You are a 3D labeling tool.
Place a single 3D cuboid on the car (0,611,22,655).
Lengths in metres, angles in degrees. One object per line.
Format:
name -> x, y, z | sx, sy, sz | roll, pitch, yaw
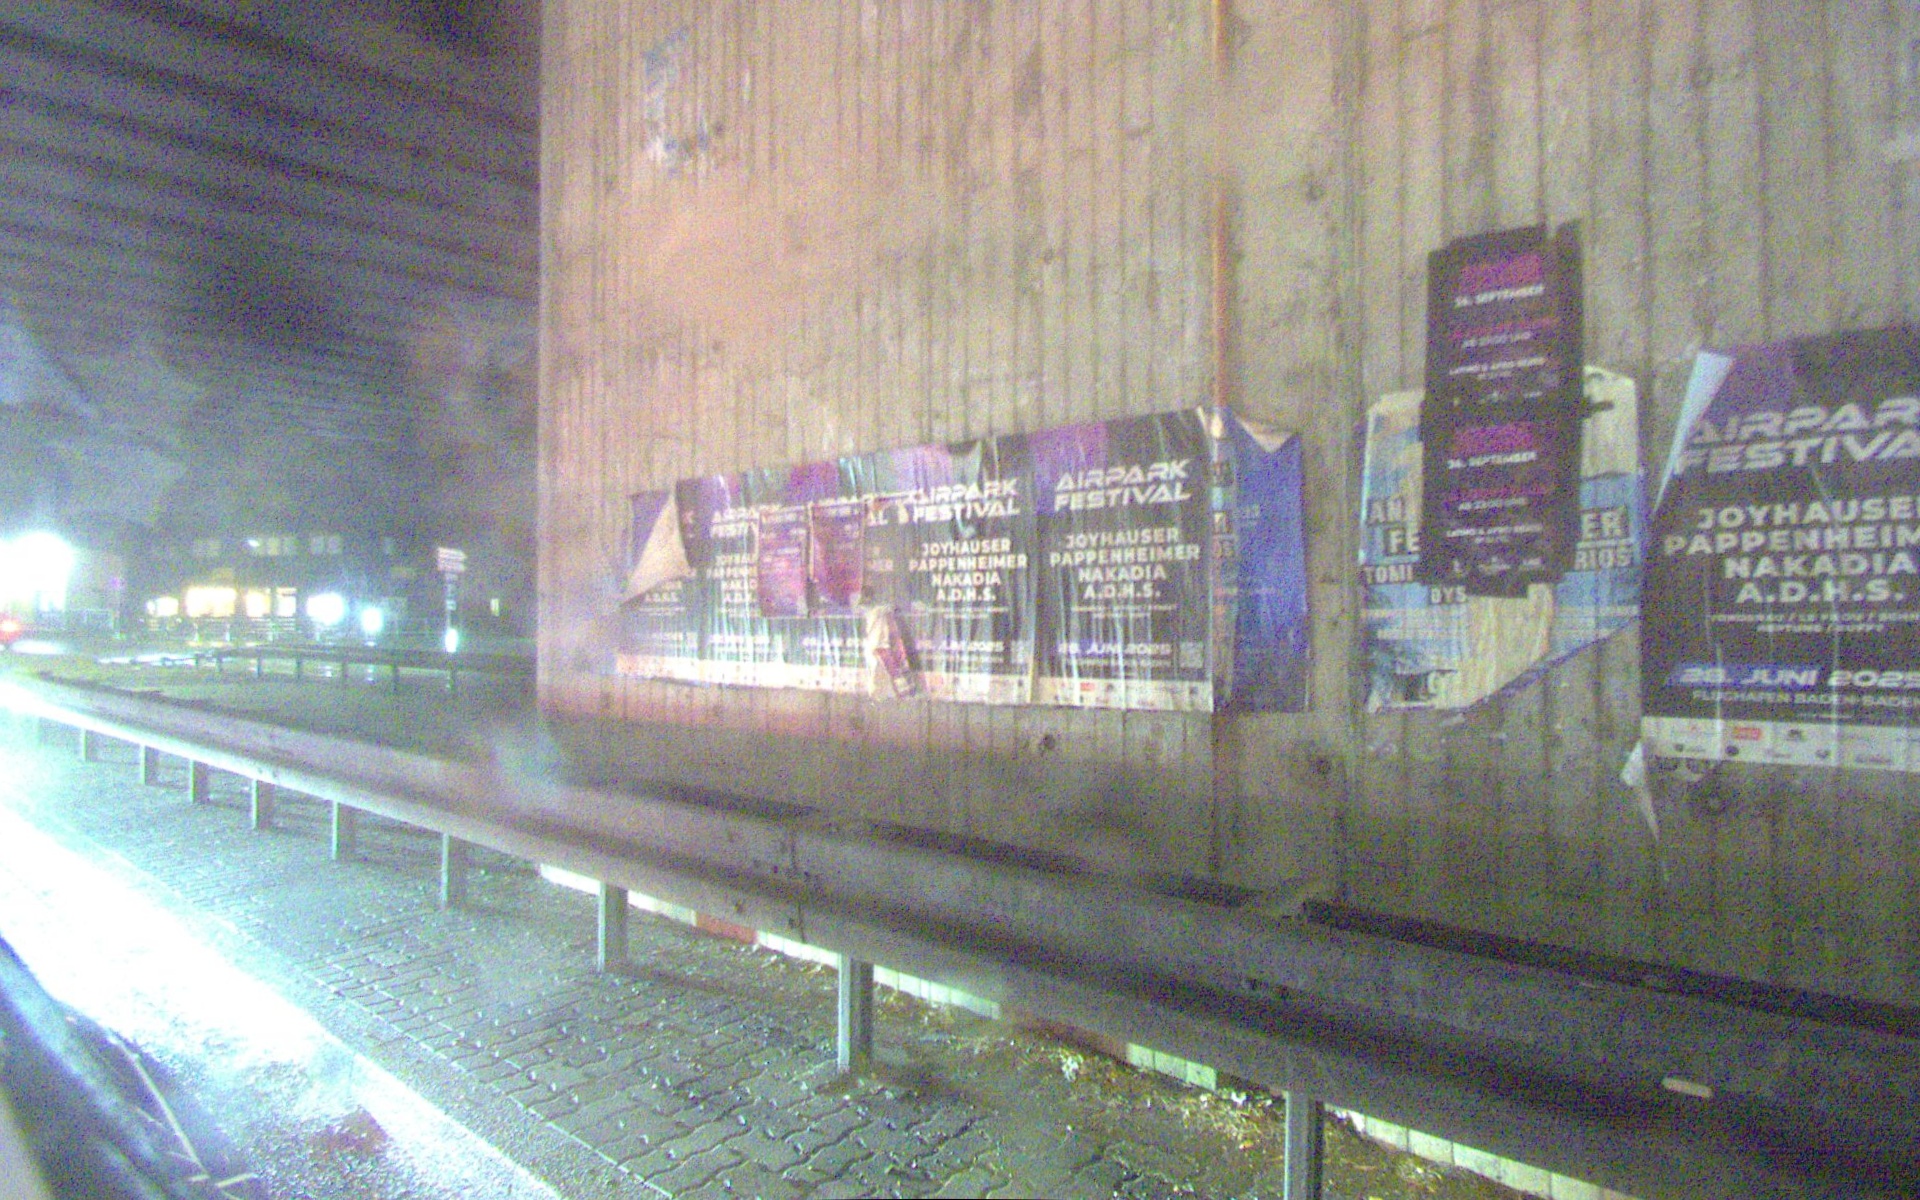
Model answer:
car -> -37.621, 1.242, 38.148 | 4.058, 1.600, 1.896 | -1, -4, 25
